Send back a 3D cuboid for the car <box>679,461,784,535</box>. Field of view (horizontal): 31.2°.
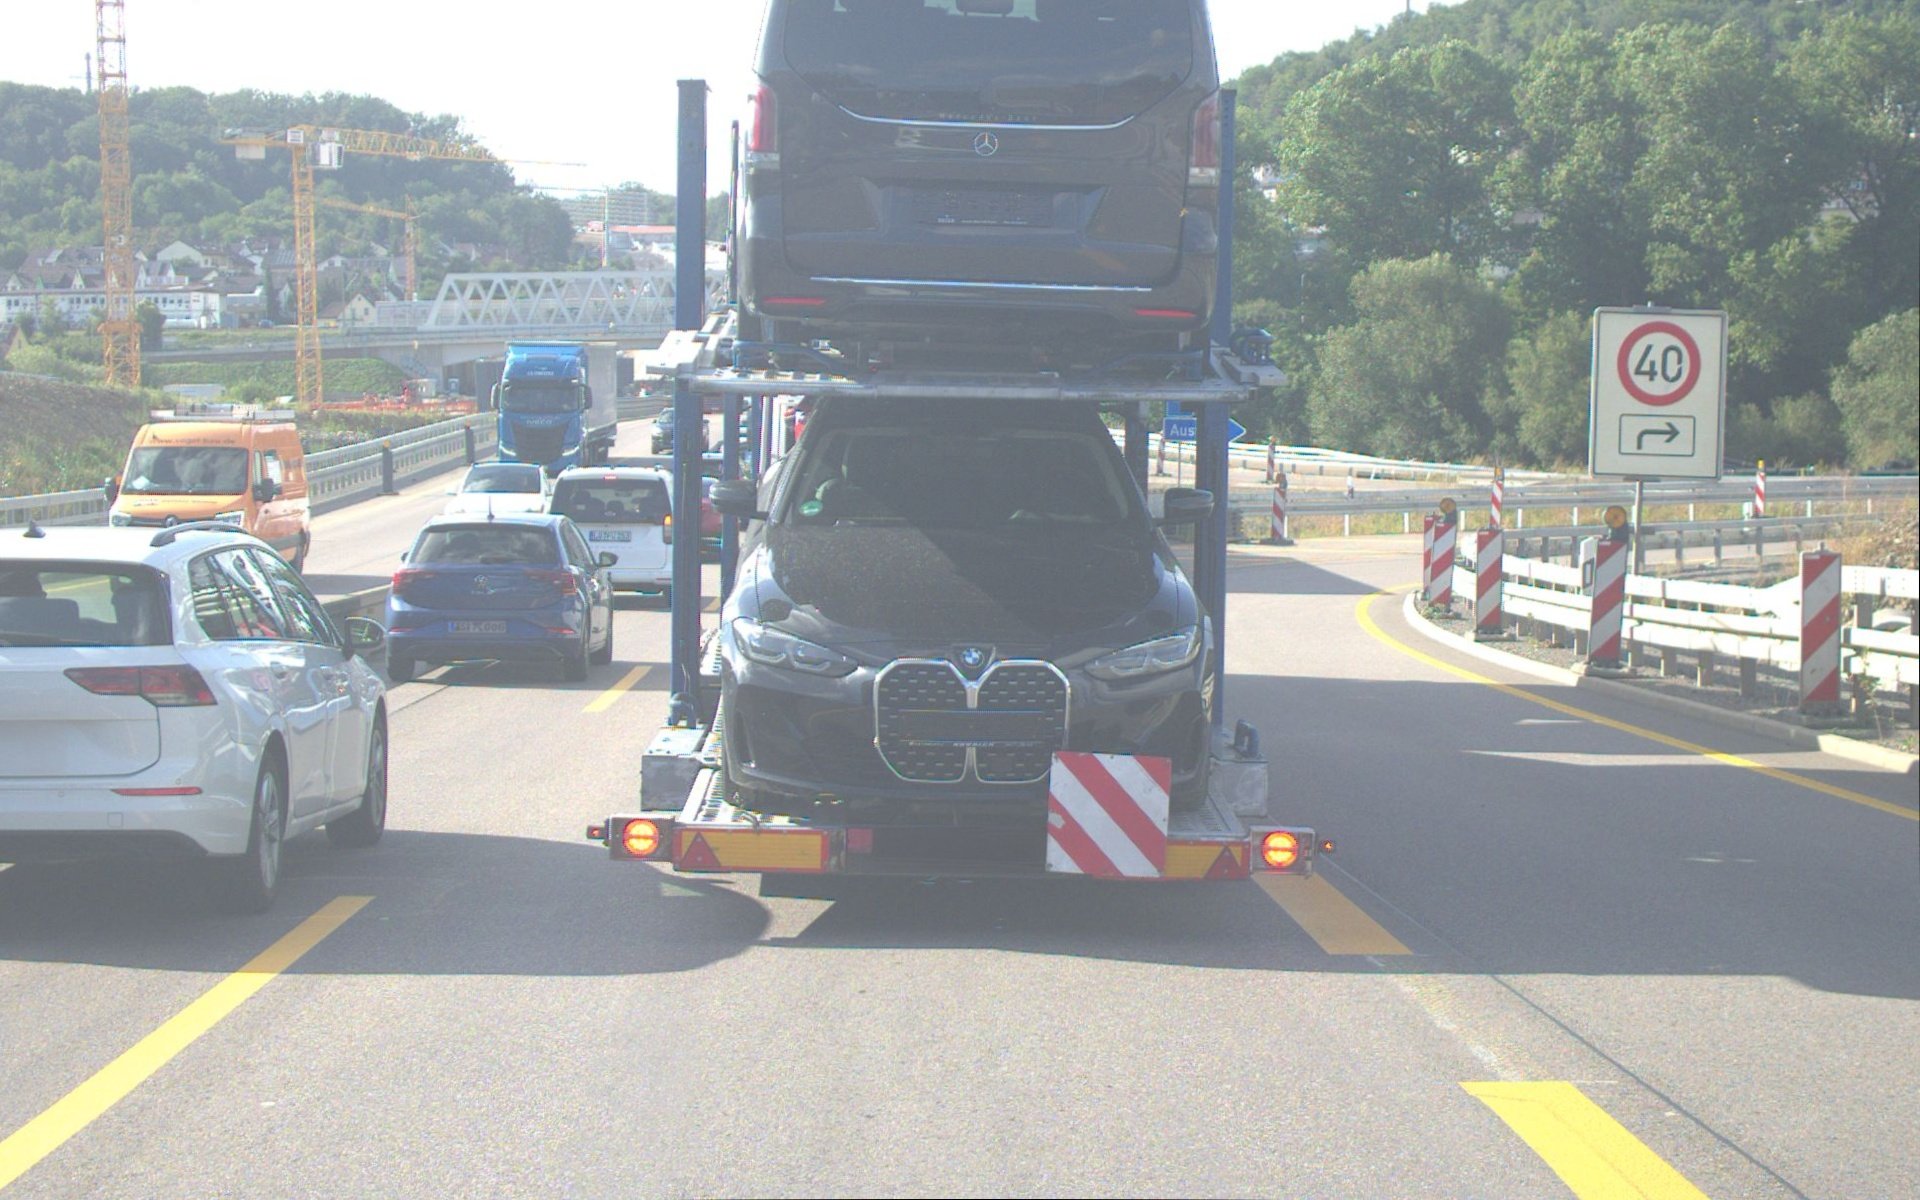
[{"bbox_3d":[-4.974,-2.258,75.305,1.993,1.546,4.001,1,2,0],"label":"car"}]

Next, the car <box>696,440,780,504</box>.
[{"bbox_3d":[-6.023,-3.476,93.590,1.993,1.660,4.000,1,1,0],"label":"car"}]

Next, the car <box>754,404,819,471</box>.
[{"bbox_3d":[-5.767,-5.391,114.605,1.993,2.007,4.000,1,0,0],"label":"car"}]

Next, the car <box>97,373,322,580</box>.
[{"bbox_3d":[-11.087,-1.801,51.229,1.993,2.869,6.064,1,1,0],"label":"car"}]

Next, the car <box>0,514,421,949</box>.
[{"bbox_3d":[-3.444,0.409,14.099,1.770,1.486,4.517,1,1,0],"label":"car"}]

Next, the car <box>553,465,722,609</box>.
[{"bbox_3d":[-4.245,-0.796,45.833,1.823,1.786,4.000,1,0,0],"label":"car"}]

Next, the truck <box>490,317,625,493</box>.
[{"bbox_3d":[-12.782,-6.089,110.306,2.822,4.772,13.054,1,0,0],"label":"truck"}]

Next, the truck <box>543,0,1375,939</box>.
[{"bbox_3d":[-0.173,-1.062,21.243,2.753,3.941,18.891,2,1,-1],"label":"truck"}]

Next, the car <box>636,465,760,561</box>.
[{"bbox_3d":[-4.637,-1.518,61.410,1.993,1.551,4.401,1,0,-2],"label":"car"}]

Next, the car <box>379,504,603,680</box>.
[{"bbox_3d":[-4.081,-0.121,30.420,1.721,1.417,4.001,1,2,-5],"label":"car"}]

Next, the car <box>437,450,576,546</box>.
[{"bbox_3d":[-8.379,-1.867,63.842,1.993,1.678,4.000,1,1,1],"label":"car"}]
